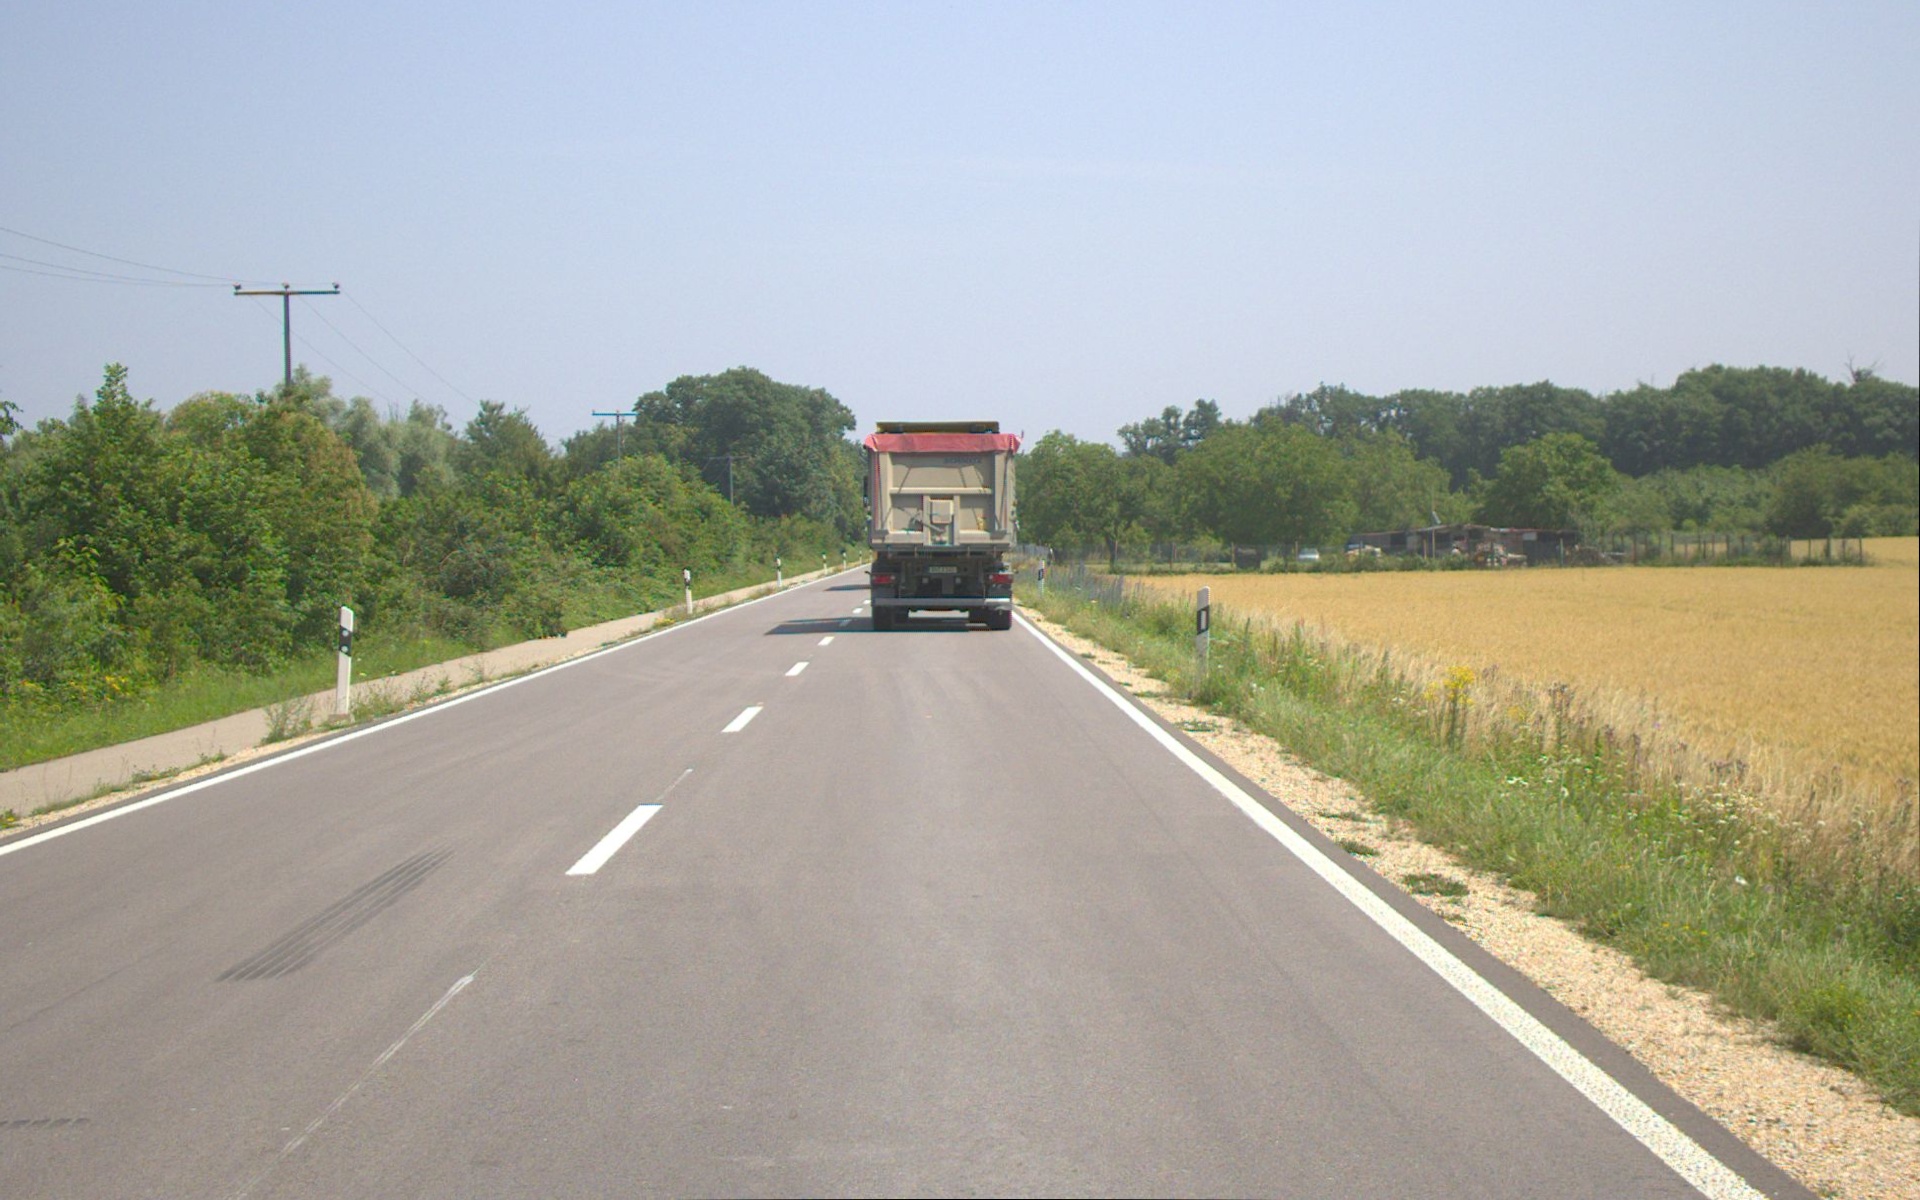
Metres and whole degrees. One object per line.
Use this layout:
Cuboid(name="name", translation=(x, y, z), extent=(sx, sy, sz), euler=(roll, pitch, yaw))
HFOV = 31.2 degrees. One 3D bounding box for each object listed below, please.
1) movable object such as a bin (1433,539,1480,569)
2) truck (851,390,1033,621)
Cuboid(name="movable object such as a bin", translation=(25.411, -2.341, 175.954), extent=(1.570, 1.491, 3.659), euler=(-1, 1, -5))
Cuboid(name="truck", translation=(-0.360, -1.682, 64.457), extent=(3.009, 3.861, 12.210), euler=(1, 1, -1))
